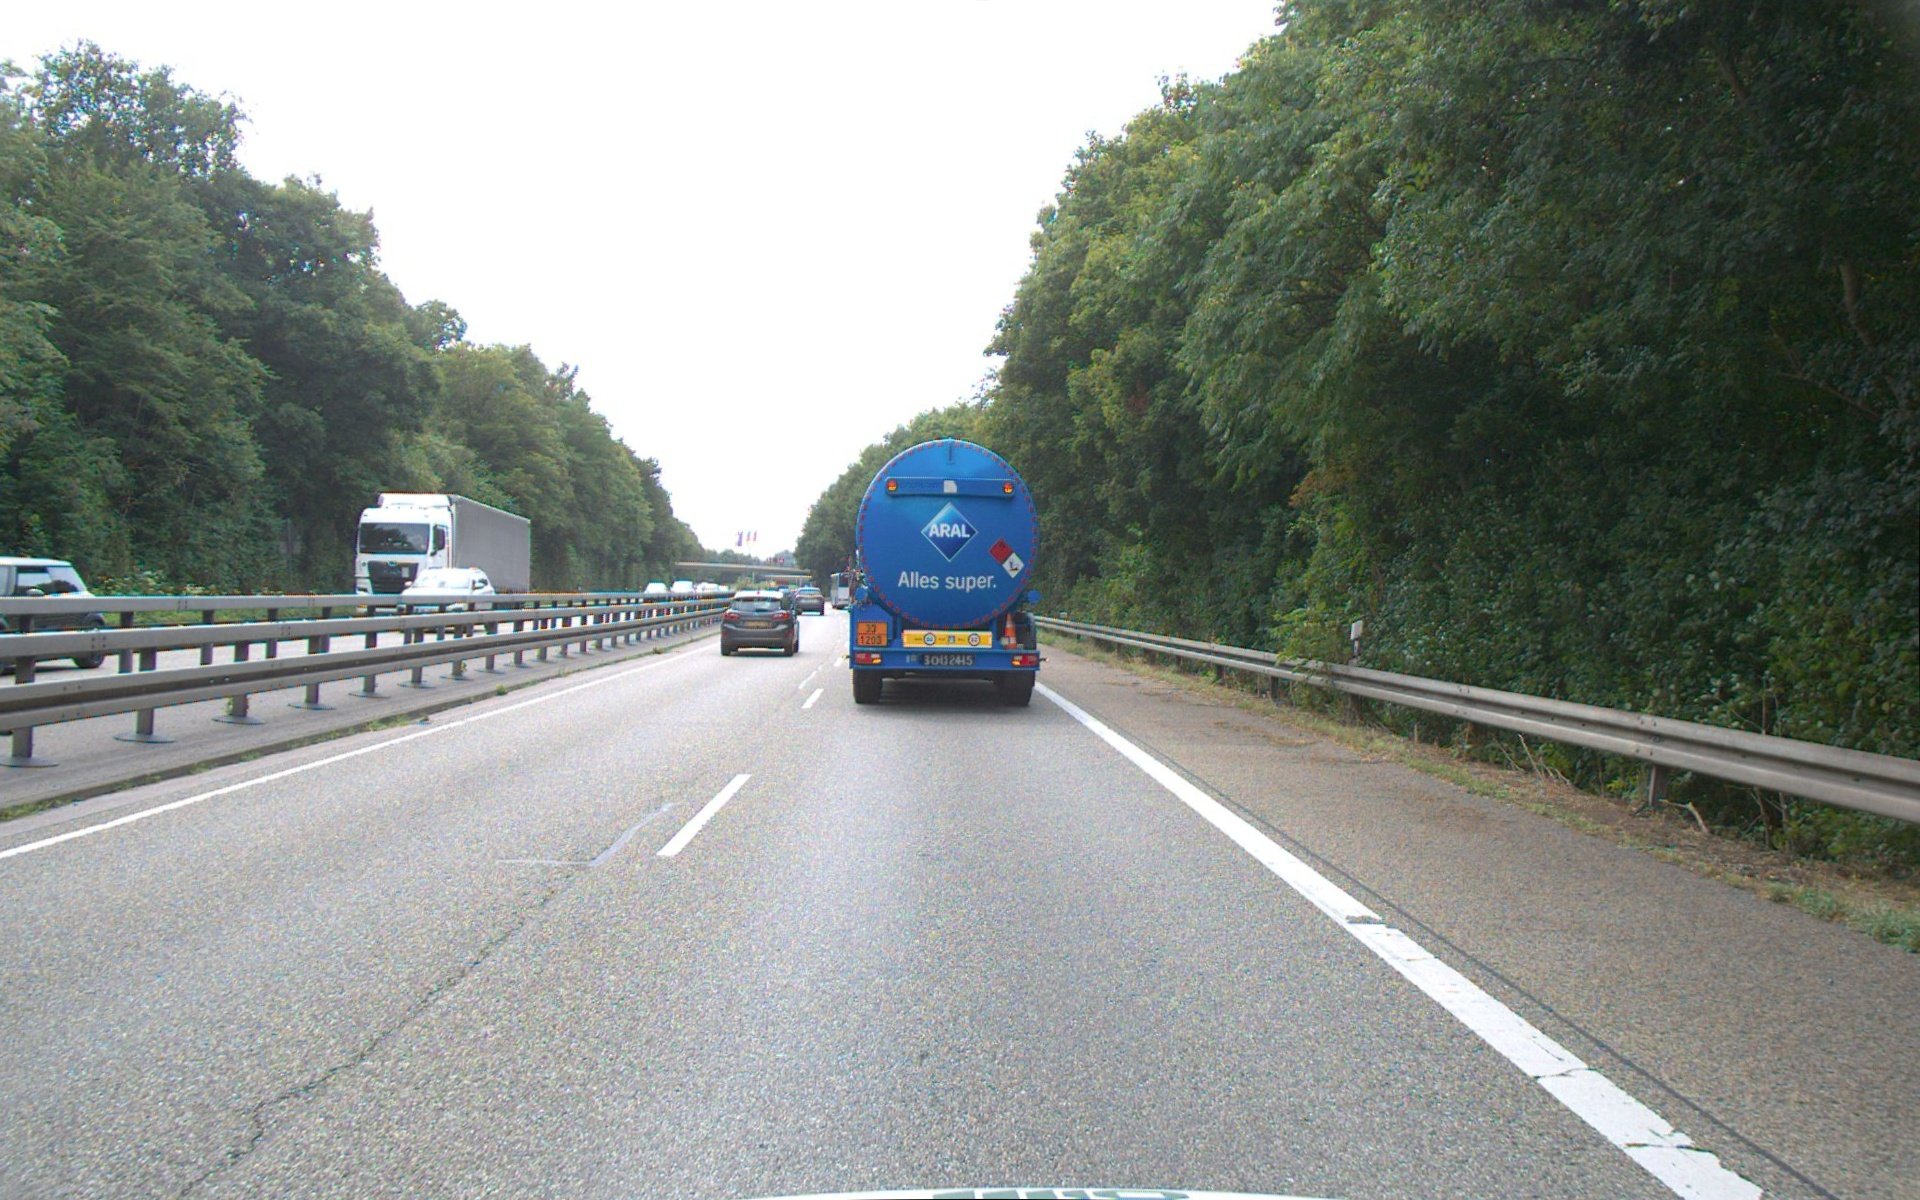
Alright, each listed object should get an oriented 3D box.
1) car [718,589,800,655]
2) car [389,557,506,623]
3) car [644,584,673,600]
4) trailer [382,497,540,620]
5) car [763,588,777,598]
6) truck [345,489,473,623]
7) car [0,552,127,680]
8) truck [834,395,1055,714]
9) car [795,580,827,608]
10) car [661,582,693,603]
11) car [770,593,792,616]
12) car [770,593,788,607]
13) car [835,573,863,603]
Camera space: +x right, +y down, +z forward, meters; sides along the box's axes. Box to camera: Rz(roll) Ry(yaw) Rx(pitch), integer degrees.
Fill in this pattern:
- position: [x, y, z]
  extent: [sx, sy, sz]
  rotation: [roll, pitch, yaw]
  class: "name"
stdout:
- position: [-4.734, 0.487, 39.399]
  extent: [1.791, 1.483, 4.634]
  rotation: [0, 0, -5]
  class: "car"
- position: [-12.722, -0.243, 41.273]
  extent: [1.756, 1.576, 4.127]
  rotation: [0, 0, -2]
  class: "car"
- position: [-23.905, -0.611, 131.114]
  extent: [1.707, 1.210, 4.288]
  rotation: [0, 0, -3]
  class: "car"
- position: [-18.300, -1.411, 61.670]
  extent: [2.611, 4.116, 12.864]
  rotation: [0, 0, -3]
  class: "trailer"
- position: [-29.078, -1.063, 252.633]
  extent: [1.954, 1.579, 3.996]
  rotation: [0, 0, -4]
  class: "car"
- position: [-17.885, -1.375, 54.013]
  extent: [2.639, 4.134, 5.319]
  rotation: [0, 0, -4]
  class: "truck"
- position: [-11.849, 0.174, 20.018]
  extent: [1.674, 1.472, 3.775]
  rotation: [0, 0, -1]
  class: "car"
- position: [-0.219, -0.599, 24.221]
  extent: [2.699, 3.914, 7.688]
  rotation: [0, 1, 0]
  class: "truck"
- position: [-8.882, -0.348, 98.477]
  extent: [1.791, 1.637, 4.162]
  rotation: [0, 0, -6]
  class: "car"
- position: [-19.142, -0.511, 111.932]
  extent: [1.610, 1.413, 4.288]
  rotation: [0, 0, -3]
  class: "car"
- position: [-16.422, 0.385, 151.280]
  extent: [1.956, 2.049, 3.994]
  rotation: [0, 0, -7]
  class: "car"
- position: [-20.765, -0.034, 189.640]
  extent: [1.916, 1.595, 3.997]
  rotation: [0, 0, -4]
  class: "car"
- position: [-8.505, -0.930, 127.425]
  extent: [1.953, 2.284, 3.999]
  rotation: [0, 0, -1]
  class: "car"
